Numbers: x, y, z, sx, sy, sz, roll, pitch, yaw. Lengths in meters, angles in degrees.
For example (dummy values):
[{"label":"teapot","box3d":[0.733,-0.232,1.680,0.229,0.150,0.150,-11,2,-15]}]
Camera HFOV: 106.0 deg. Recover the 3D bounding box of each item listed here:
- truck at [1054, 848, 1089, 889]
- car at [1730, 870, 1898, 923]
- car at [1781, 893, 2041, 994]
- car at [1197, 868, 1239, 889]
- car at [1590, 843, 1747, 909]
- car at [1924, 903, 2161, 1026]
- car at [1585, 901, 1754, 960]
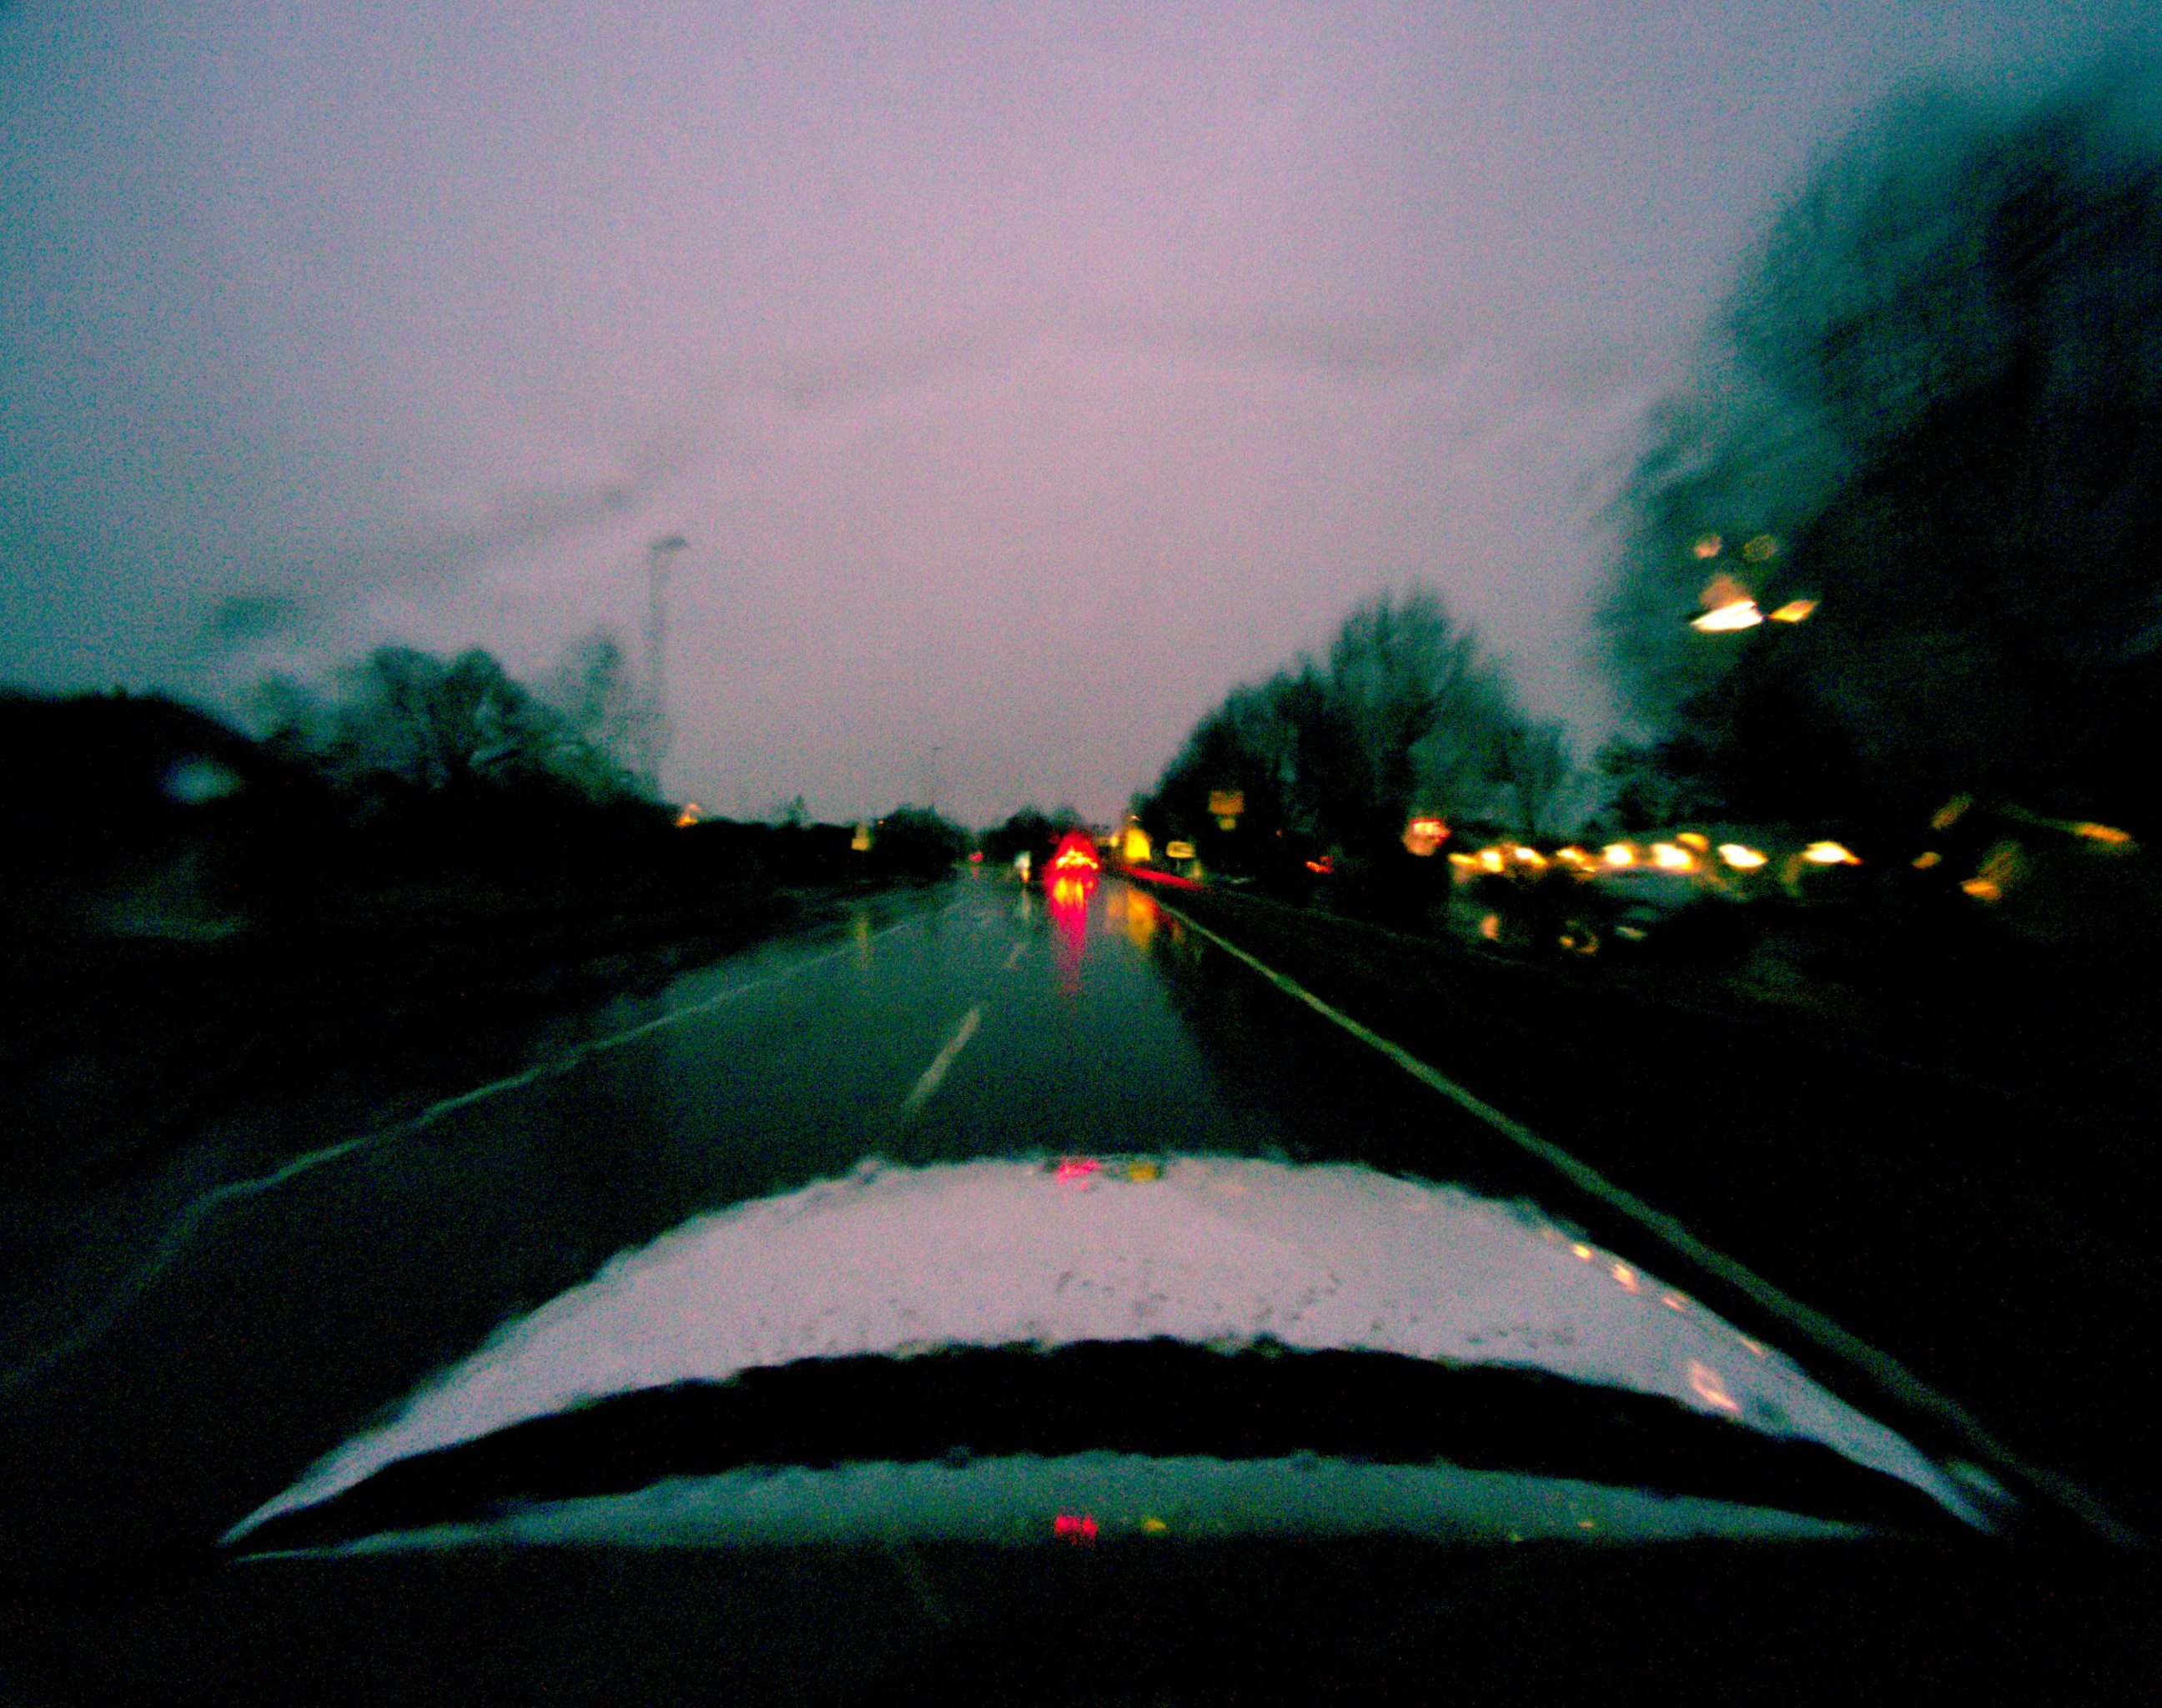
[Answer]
[{"label":"truck","box3d":[-0.750,1.026,61.646,2.525,2.869,5.918,1,0,-2]},{"label":"car","box3d":[26.248,1.517,29.309,4.310,1.763,2.113,-2,-5,43]},{"label":"car","box3d":[16.817,1.730,16.558,4.136,1.724,2.010,0,-1,-16]},{"label":"car","box3d":[13.156,2.374,78.282,3.964,2.014,2.004,0,-3,8]},{"label":"car","box3d":[26.752,1.060,37.239,5.560,2.777,2.113,-3,-5,43]},{"label":"car","box3d":[17.090,1.770,13.954,4.137,1.730,2.010,0,-2,-17]},{"label":"car","box3d":[15.692,2.025,21.800,3.534,1.424,1.657,1,-2,-8]}]
